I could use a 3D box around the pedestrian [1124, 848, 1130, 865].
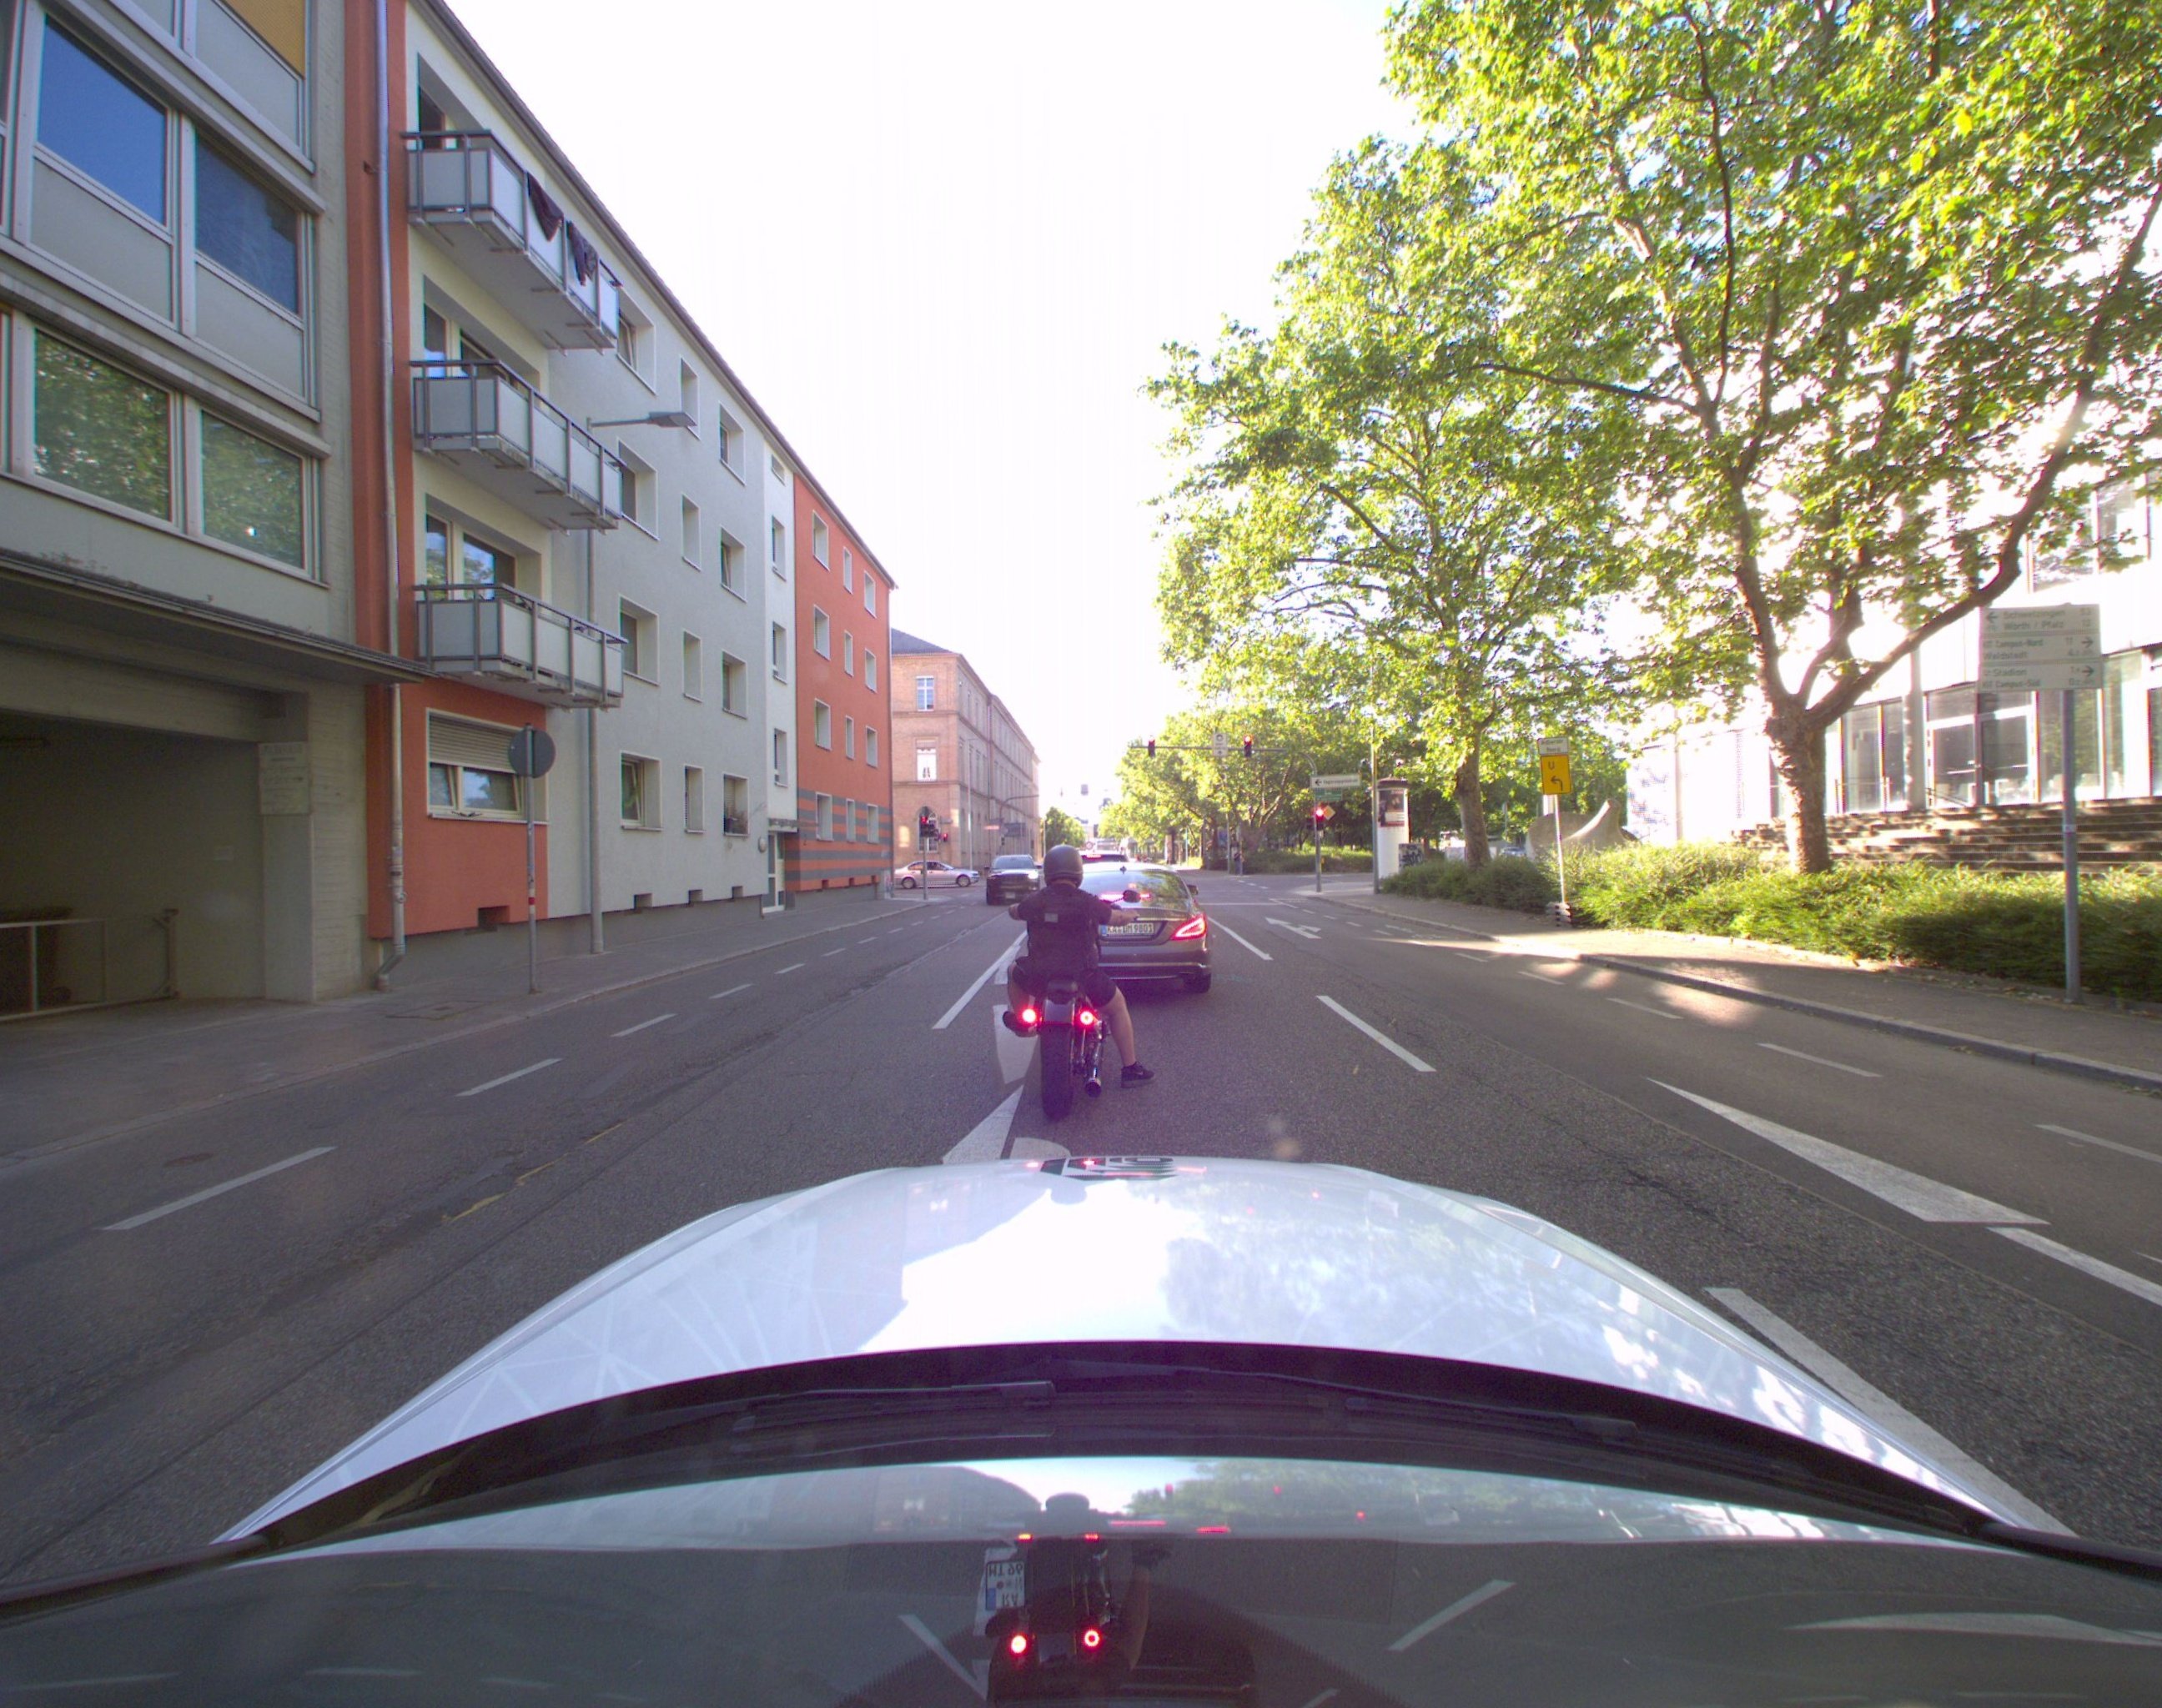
[{"bbox_3d":[5.703,0.285,100.940,0.761,2.051,0.712,0,-1,1],"label":"pedestrian"}]

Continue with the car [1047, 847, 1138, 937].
[{"bbox_3d":[0.274,0.693,16.858,1.615,1.594,4.002,-1,0,2],"label":"car"}]

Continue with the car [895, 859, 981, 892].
[{"bbox_3d":[-7.212,1.067,41.366,4.112,1.575,1.856,0,-1,-3],"label":"car"}]

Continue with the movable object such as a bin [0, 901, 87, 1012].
[{"bbox_3d":[-11.259,1.061,8.633,0.626,1.100,0.659,0,-1,4],"label":"movable object such as a bin"}]

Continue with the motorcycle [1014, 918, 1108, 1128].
[{"bbox_3d":[-0.077,1.004,5.471,0.511,1.002,2.014,0,-1,2],"label":"motorcycle"}]

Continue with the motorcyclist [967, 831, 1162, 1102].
[{"bbox_3d":[-0.069,0.671,5.467,1.144,1.598,1.289,0,-1,2],"label":"motorcyclist"}]

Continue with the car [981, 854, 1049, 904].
[{"bbox_3d":[-2.191,0.811,28.139,1.843,1.570,4.387,0,-1,2],"label":"car"}]

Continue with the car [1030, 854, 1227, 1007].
[{"bbox_3d":[0.515,0.739,9.729,1.875,1.449,3.821,0,0,2],"label":"car"}]

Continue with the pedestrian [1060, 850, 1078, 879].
[{"bbox_3d":[-0.737,0.697,52.344,0.996,1.826,1.078,0,-1,8],"label":"pedestrian"}]

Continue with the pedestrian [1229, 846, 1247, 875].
[{"bbox_3d":[10.626,0.446,55.072,0.753,1.910,0.918,0,-1,-26],"label":"pedestrian"}]
